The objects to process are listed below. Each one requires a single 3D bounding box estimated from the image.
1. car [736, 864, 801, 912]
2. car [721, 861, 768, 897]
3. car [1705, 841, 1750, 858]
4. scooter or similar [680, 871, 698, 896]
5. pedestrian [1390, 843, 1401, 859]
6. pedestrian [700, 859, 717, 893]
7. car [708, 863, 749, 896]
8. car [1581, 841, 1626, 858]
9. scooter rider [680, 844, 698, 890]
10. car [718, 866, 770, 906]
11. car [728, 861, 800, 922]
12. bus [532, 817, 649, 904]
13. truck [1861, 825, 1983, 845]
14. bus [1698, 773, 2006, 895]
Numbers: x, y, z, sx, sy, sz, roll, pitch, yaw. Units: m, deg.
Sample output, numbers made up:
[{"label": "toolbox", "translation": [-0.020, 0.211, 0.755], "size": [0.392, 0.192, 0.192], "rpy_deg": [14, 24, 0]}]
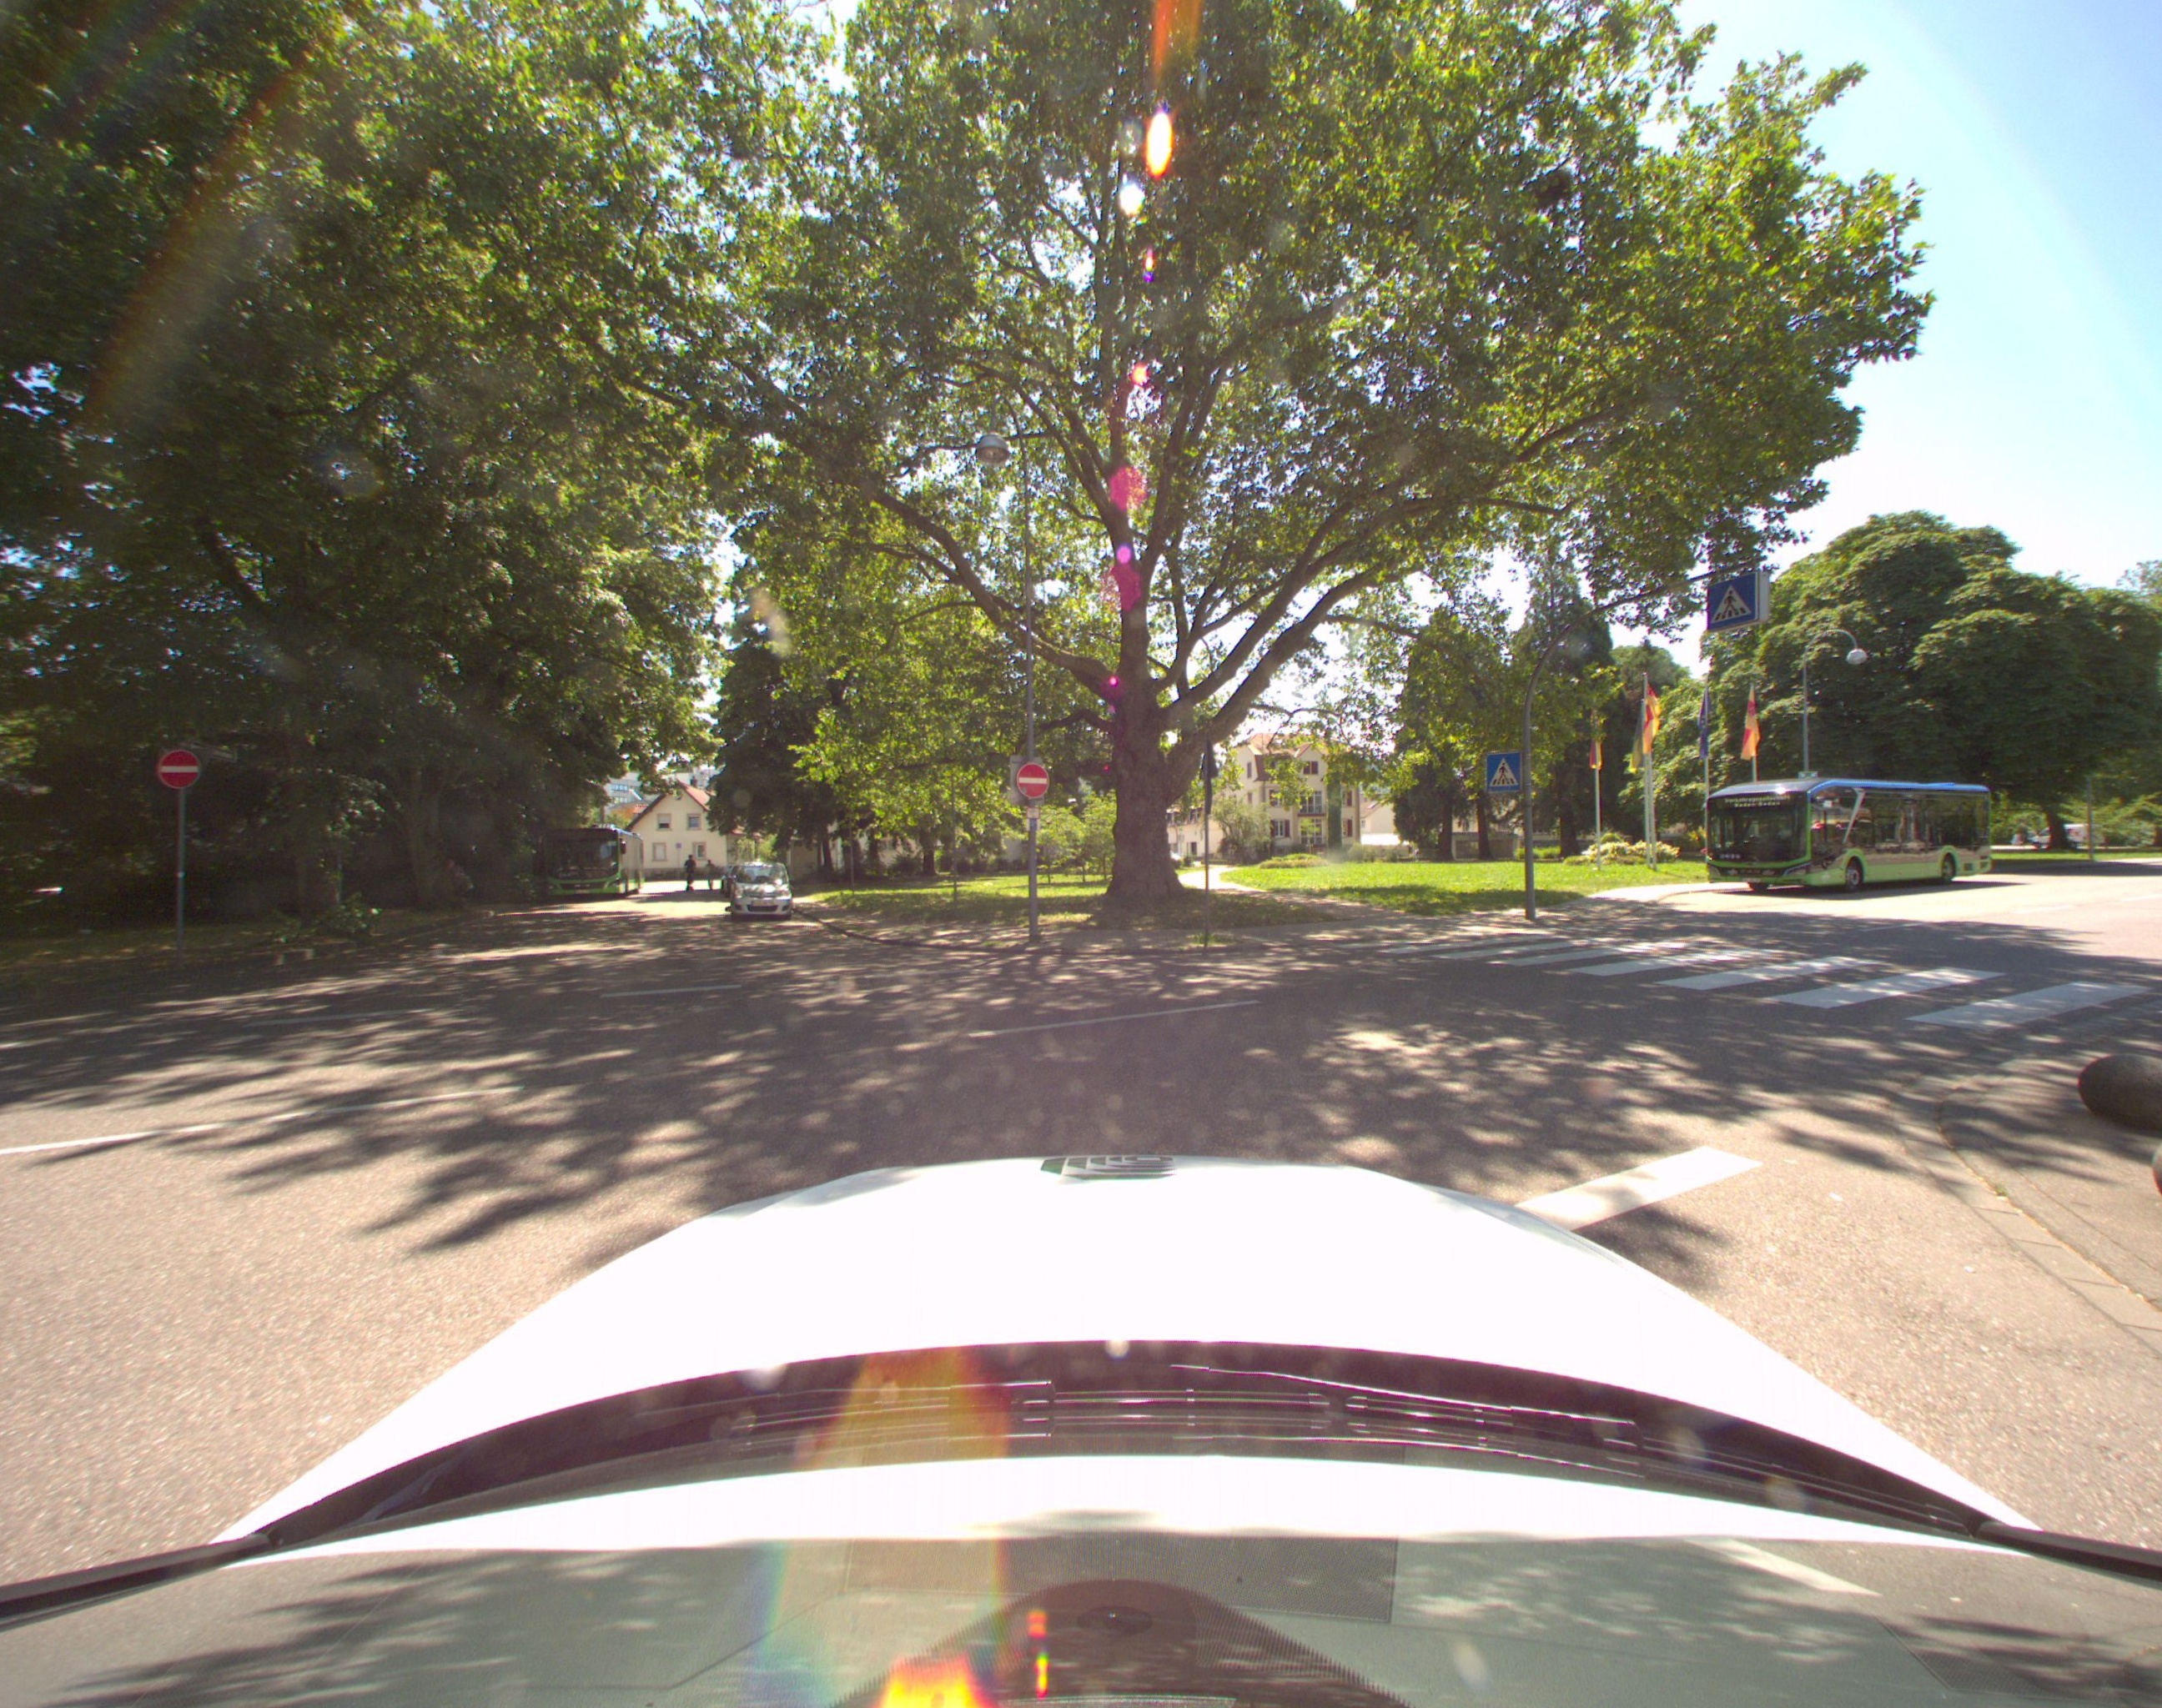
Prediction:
[{"label": "car", "translation": [-10.443, 1.051, 27.025], "size": [1.758, 1.439, 4.466], "rpy_deg": [0, 0, -25]}, {"label": "car", "translation": [-15.418, 1.083, 37.211], "size": [1.763, 1.493, 4.339], "rpy_deg": [-1, 0, -25]}, {"label": "car", "translation": [72.578, -0.519, 91.434], "size": [3.993, 1.837, 1.868], "rpy_deg": [0, 2, -14]}, {"label": "scooter or similar", "translation": [-20.048, 1.483, 41.641], "size": [0.742, 1.183, 1.507], "rpy_deg": [-1, 0, -24]}, {"label": "pedestrian", "translation": [27.600, -0.252, 71.522], "size": [0.817, 1.370, 0.622], "rpy_deg": [1, 2, 25]}, {"label": "pedestrian", "translation": [-20.533, 1.190, 44.917], "size": [0.722, 1.802, 0.935], "rpy_deg": [-1, 0, -19]}, {"label": "car", "translation": [-17.617, 1.248, 40.664], "size": [1.763, 1.493, 3.885], "rpy_deg": [-1, 0, -25]}, {"label": "car", "translation": [56.460, -0.523, 88.000], "size": [3.993, 1.751, 1.868], "rpy_deg": [0, 2, -14]}, {"label": "scooter rider", "translation": [-20.067, 0.663, 41.652], "size": [0.742, 2.317, 0.919], "rpy_deg": [-1, 0, -24]}, {"label": "car", "translation": [-13.645, 1.223, 32.832], "size": [1.759, 1.439, 4.731], "rpy_deg": [-1, 0, -25]}, {"label": "car", "translation": [-8.612, 0.929, 21.976], "size": [1.602, 1.497, 3.457], "rpy_deg": [0, 0, -25]}, {"label": "bus", "translation": [-22.695, 0.293, 38.614], "size": [2.882, 3.295, 15.821], "rpy_deg": [-1, 0, -24]}, {"label": "truck", "translation": [107.662, -2.373, 104.682], "size": [2.280, 2.349, 11.313], "rpy_deg": [-1, 0, -14]}, {"label": "bus", "translation": [24.636, -0.670, 25.745], "size": [12.447, 3.283, 2.794], "rpy_deg": [-1, 0, -26]}]
